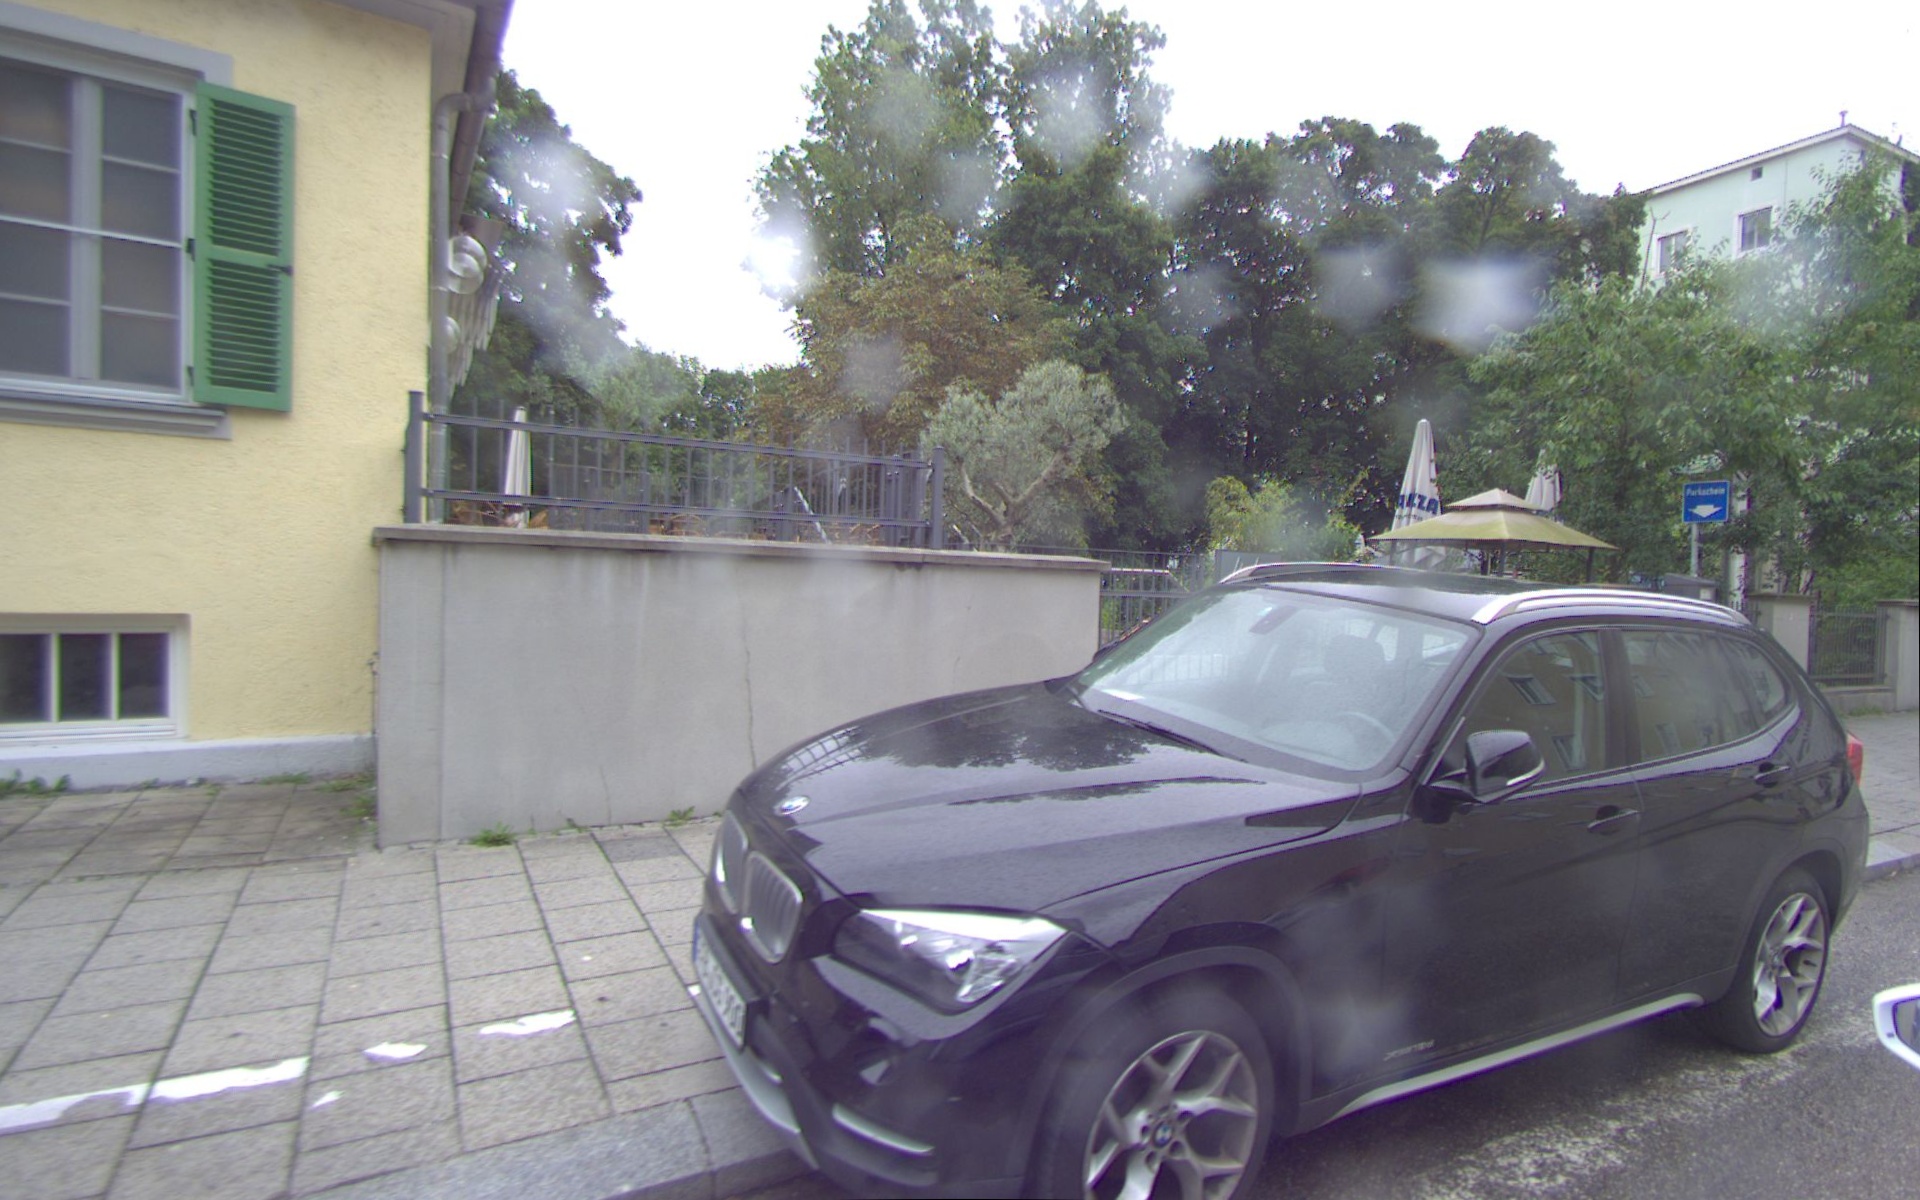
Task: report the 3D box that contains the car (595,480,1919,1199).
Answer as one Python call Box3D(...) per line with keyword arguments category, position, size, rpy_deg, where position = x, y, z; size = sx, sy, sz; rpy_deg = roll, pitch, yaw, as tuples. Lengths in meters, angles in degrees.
Box3D(category="car", position=(1.324, 0.629, 3.538), size=(4.684, 1.629, 1.837), rpy_deg=(1, 2, -28))
